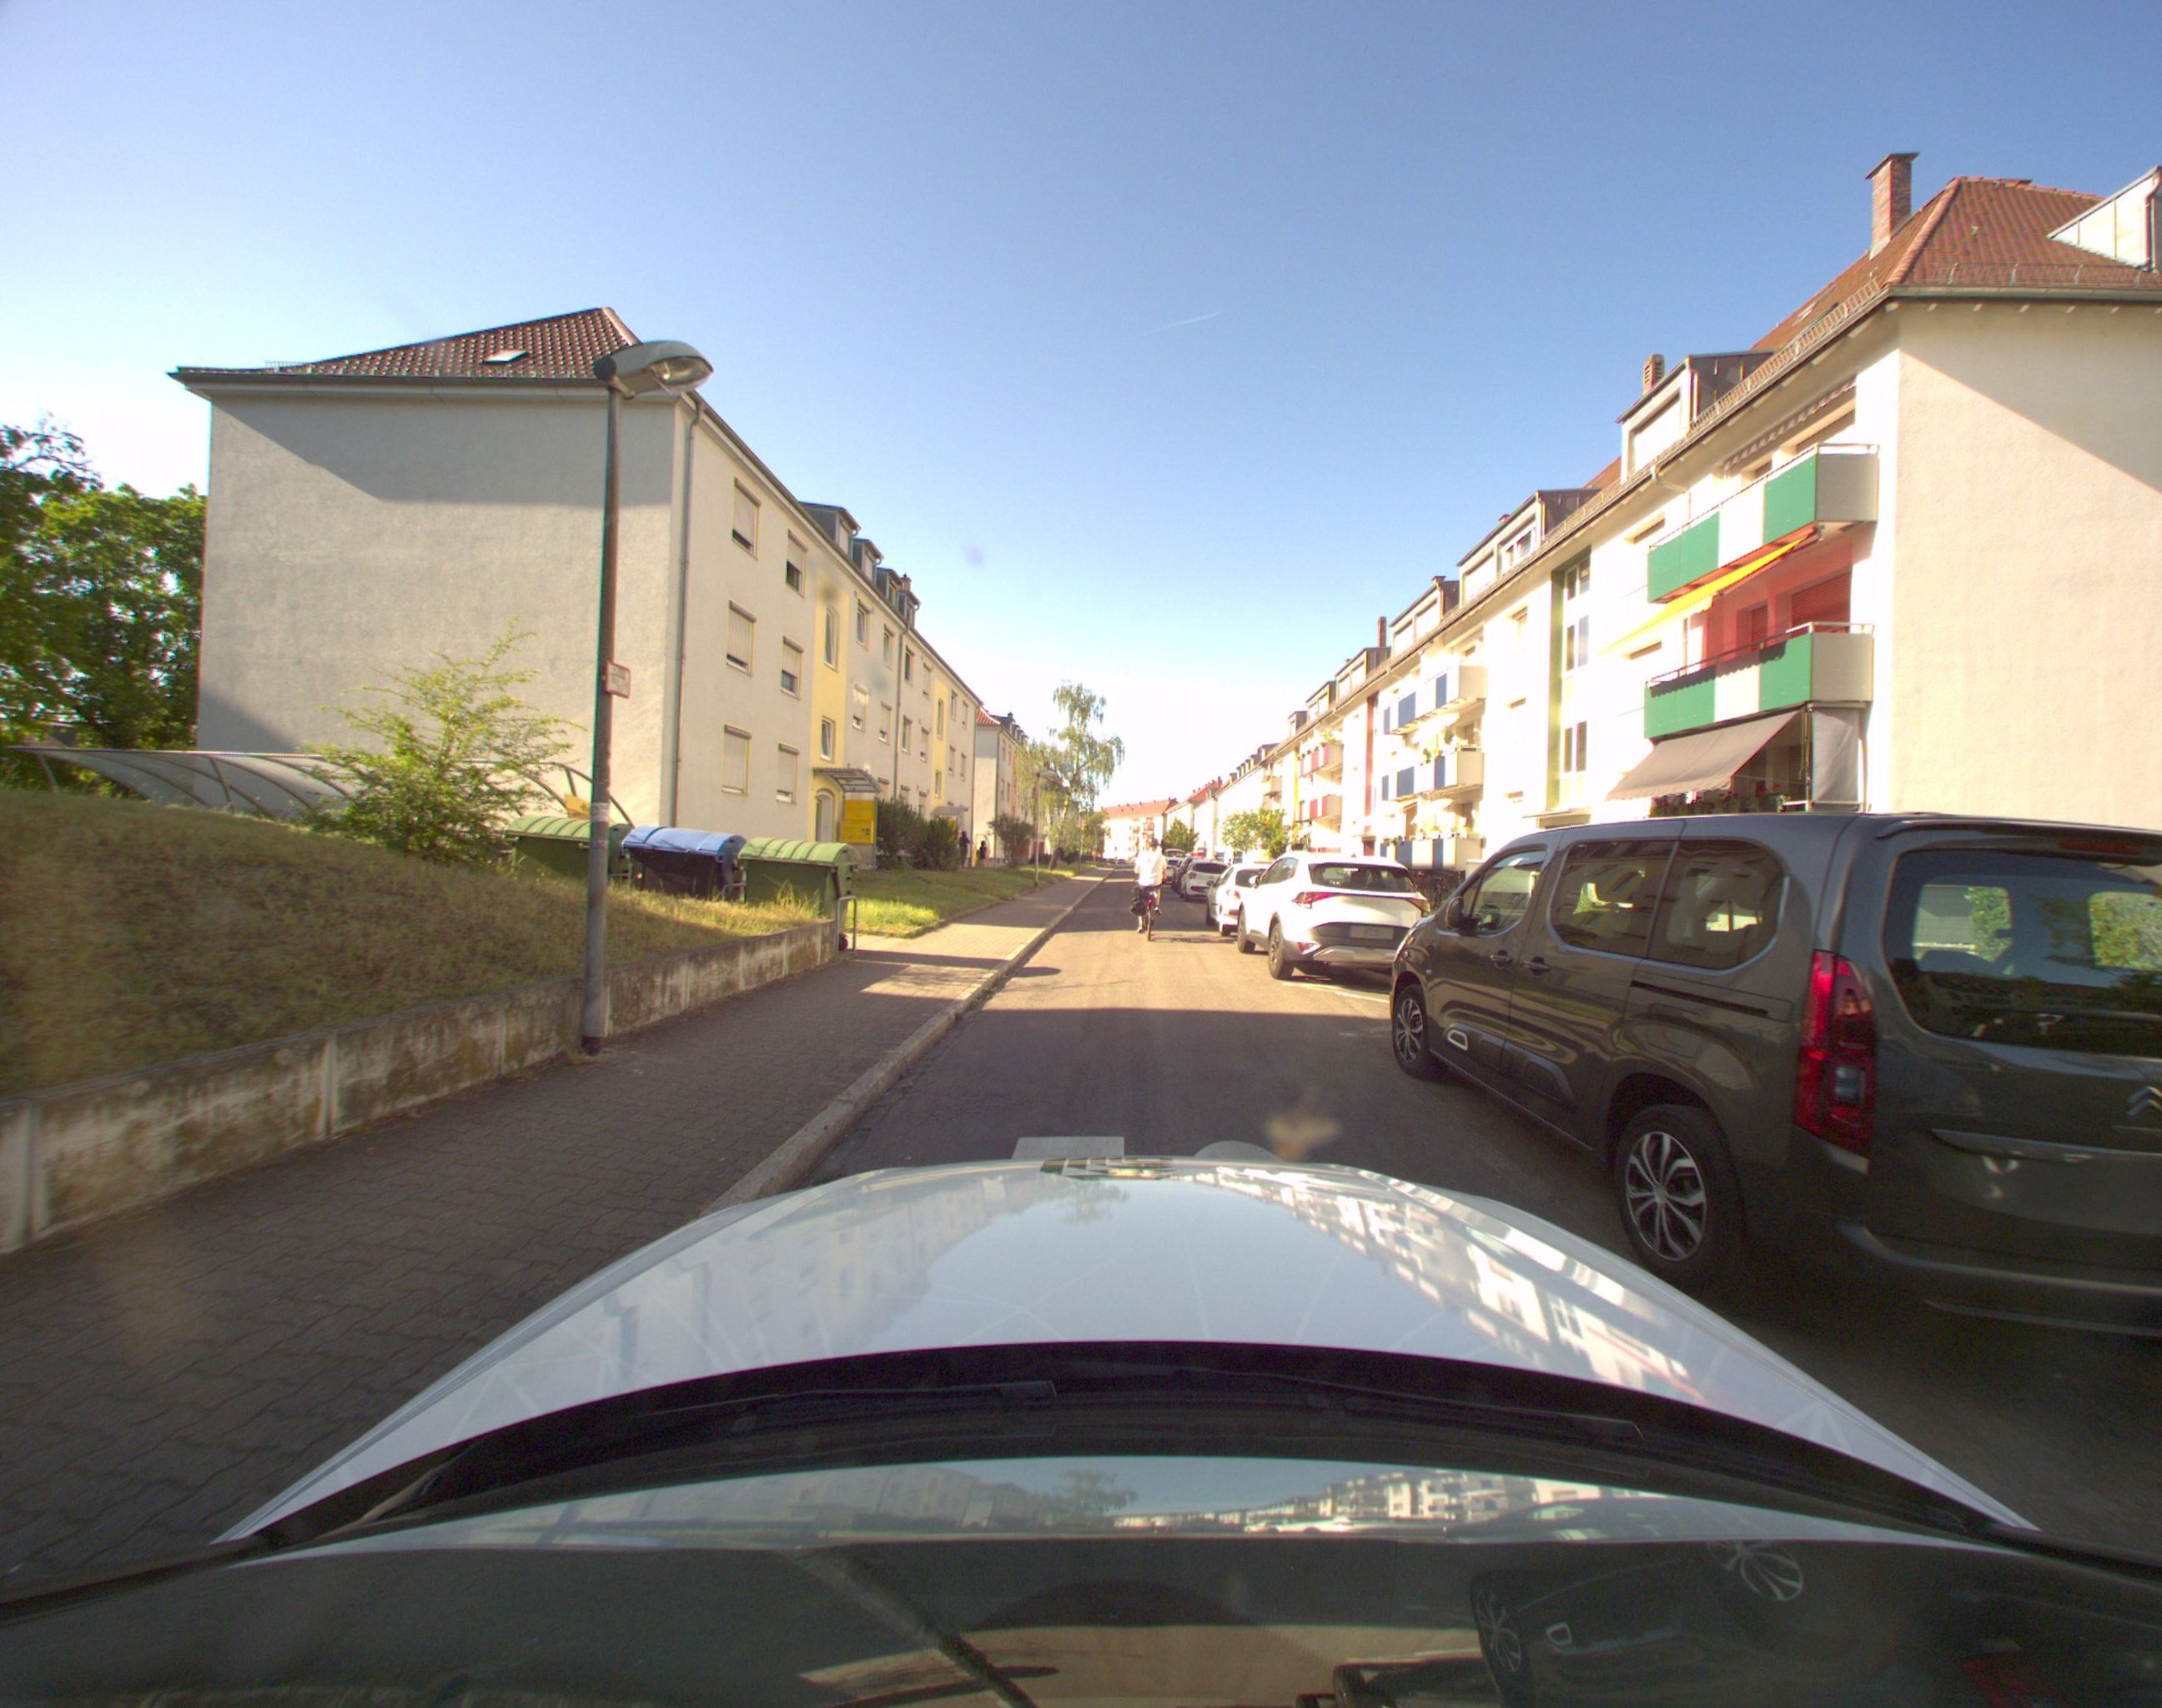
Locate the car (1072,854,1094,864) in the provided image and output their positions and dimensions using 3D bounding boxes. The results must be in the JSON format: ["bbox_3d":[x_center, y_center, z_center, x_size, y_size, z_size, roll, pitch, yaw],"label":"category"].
[{"bbox_3d":[0.413,0.970,151.755,3.972,1.801,2.001,1,0,2],"label":"car"}]

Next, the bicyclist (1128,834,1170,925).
[{"bbox_3d":[1.230,0.456,14.916,0.691,1.596,0.791,2,-1,2],"label":"bicyclist"}]

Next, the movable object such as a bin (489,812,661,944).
[{"bbox_3d":[-6.665,0.301,10.821,1.453,1.613,1.192,2,-1,3],"label":"movable object such as a bin"}]

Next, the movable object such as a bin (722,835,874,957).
[{"bbox_3d":[-3.700,0.530,10.819,1.486,1.478,1.266,2,0,3],"label":"movable object such as a bin"}]

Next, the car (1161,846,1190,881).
[{"bbox_3d":[6.089,0.614,52.925,1.612,2.143,4.003,2,0,3],"label":"car"}]

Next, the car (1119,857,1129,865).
[{"bbox_3d":[8.849,1.508,167.514,1.751,1.575,3.902,1,0,-1],"label":"car"}]

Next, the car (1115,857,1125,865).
[{"bbox_3d":[8.202,1.464,172.895,1.987,1.575,4.000,1,0,0],"label":"car"}]

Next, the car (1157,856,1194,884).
[{"bbox_3d":[5.419,0.915,47.107,1.886,1.496,4.095,2,0,3],"label":"car"}]

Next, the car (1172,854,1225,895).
[{"bbox_3d":[4.839,0.829,34.008,1.827,1.558,4.003,2,0,3],"label":"car"}]

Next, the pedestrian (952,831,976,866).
[{"bbox_3d":[-5.897,-0.277,41.000,0.966,1.715,0.947,2,-1,3],"label":"pedestrian"}]

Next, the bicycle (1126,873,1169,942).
[{"bbox_3d":[1.190,0.932,14.854,0.658,1.127,1.766,3,-1,2],"label":"bicycle"}]

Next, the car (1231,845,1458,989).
[{"bbox_3d":[3.414,0.733,11.446,1.975,1.592,4.127,2,0,2],"label":"car"}]

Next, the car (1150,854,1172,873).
[{"bbox_3d":[7.135,0.825,73.007,1.798,1.604,4.408,2,0,3],"label":"car"}]

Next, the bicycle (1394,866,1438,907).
[{"bbox_3d":[9.573,0.918,23.313,0.556,1.093,1.902,2,0,3],"label":"bicycle"}]

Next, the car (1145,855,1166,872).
[{"bbox_3d":[7.098,0.926,77.951,1.798,1.498,4.203,2,0,3],"label":"car"}]

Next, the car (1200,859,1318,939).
[{"bbox_3d":[3.568,0.847,16.966,1.750,1.432,3.630,2,0,2],"label":"car"}]

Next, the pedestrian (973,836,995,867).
[{"bbox_3d":[-4.902,-0.131,41.188,0.860,1.522,1.069,2,-1,3],"label":"pedestrian"}]

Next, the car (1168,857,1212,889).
[{"bbox_3d":[5.275,0.915,39.715,1.827,1.435,3.755,2,0,3],"label":"car"}]

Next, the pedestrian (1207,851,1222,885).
[{"bbox_3d":[8.174,0.835,49.815,0.787,2.014,1.083,1,0,3],"label":"pedestrian"}]

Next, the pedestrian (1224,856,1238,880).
[{"bbox_3d":[10.716,1.018,58.016,0.705,1.678,0.798,1,-1,33],"label":"pedestrian"}]

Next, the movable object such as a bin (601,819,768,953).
[{"bbox_3d":[-5.192,0.402,10.792,1.493,1.622,1.264,2,-1,3],"label":"movable object such as a bin"}]

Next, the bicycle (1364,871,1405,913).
[{"bbox_3d":[8.644,1.061,23.267,0.556,1.093,1.902,2,0,3],"label":"bicycle"}]

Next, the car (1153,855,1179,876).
[{"bbox_3d":[6.467,0.857,62.219,1.798,1.550,4.003,2,0,3],"label":"car"}]

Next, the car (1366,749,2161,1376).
[{"bbox_3d":[3.130,0.605,4.431,1.855,1.730,4.299,2,0,3],"label":"car"}]

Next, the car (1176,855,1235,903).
[{"bbox_3d":[4.371,0.845,29.077,1.625,1.491,3.625,3,0,2],"label":"car"}]

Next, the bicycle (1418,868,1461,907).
[{"bbox_3d":[10.338,0.951,23.551,0.512,1.054,1.867,2,0,3],"label":"bicycle"}]

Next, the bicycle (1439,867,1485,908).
[{"bbox_3d":[10.984,0.936,23.548,0.556,1.104,1.831,2,0,3],"label":"bicycle"}]
